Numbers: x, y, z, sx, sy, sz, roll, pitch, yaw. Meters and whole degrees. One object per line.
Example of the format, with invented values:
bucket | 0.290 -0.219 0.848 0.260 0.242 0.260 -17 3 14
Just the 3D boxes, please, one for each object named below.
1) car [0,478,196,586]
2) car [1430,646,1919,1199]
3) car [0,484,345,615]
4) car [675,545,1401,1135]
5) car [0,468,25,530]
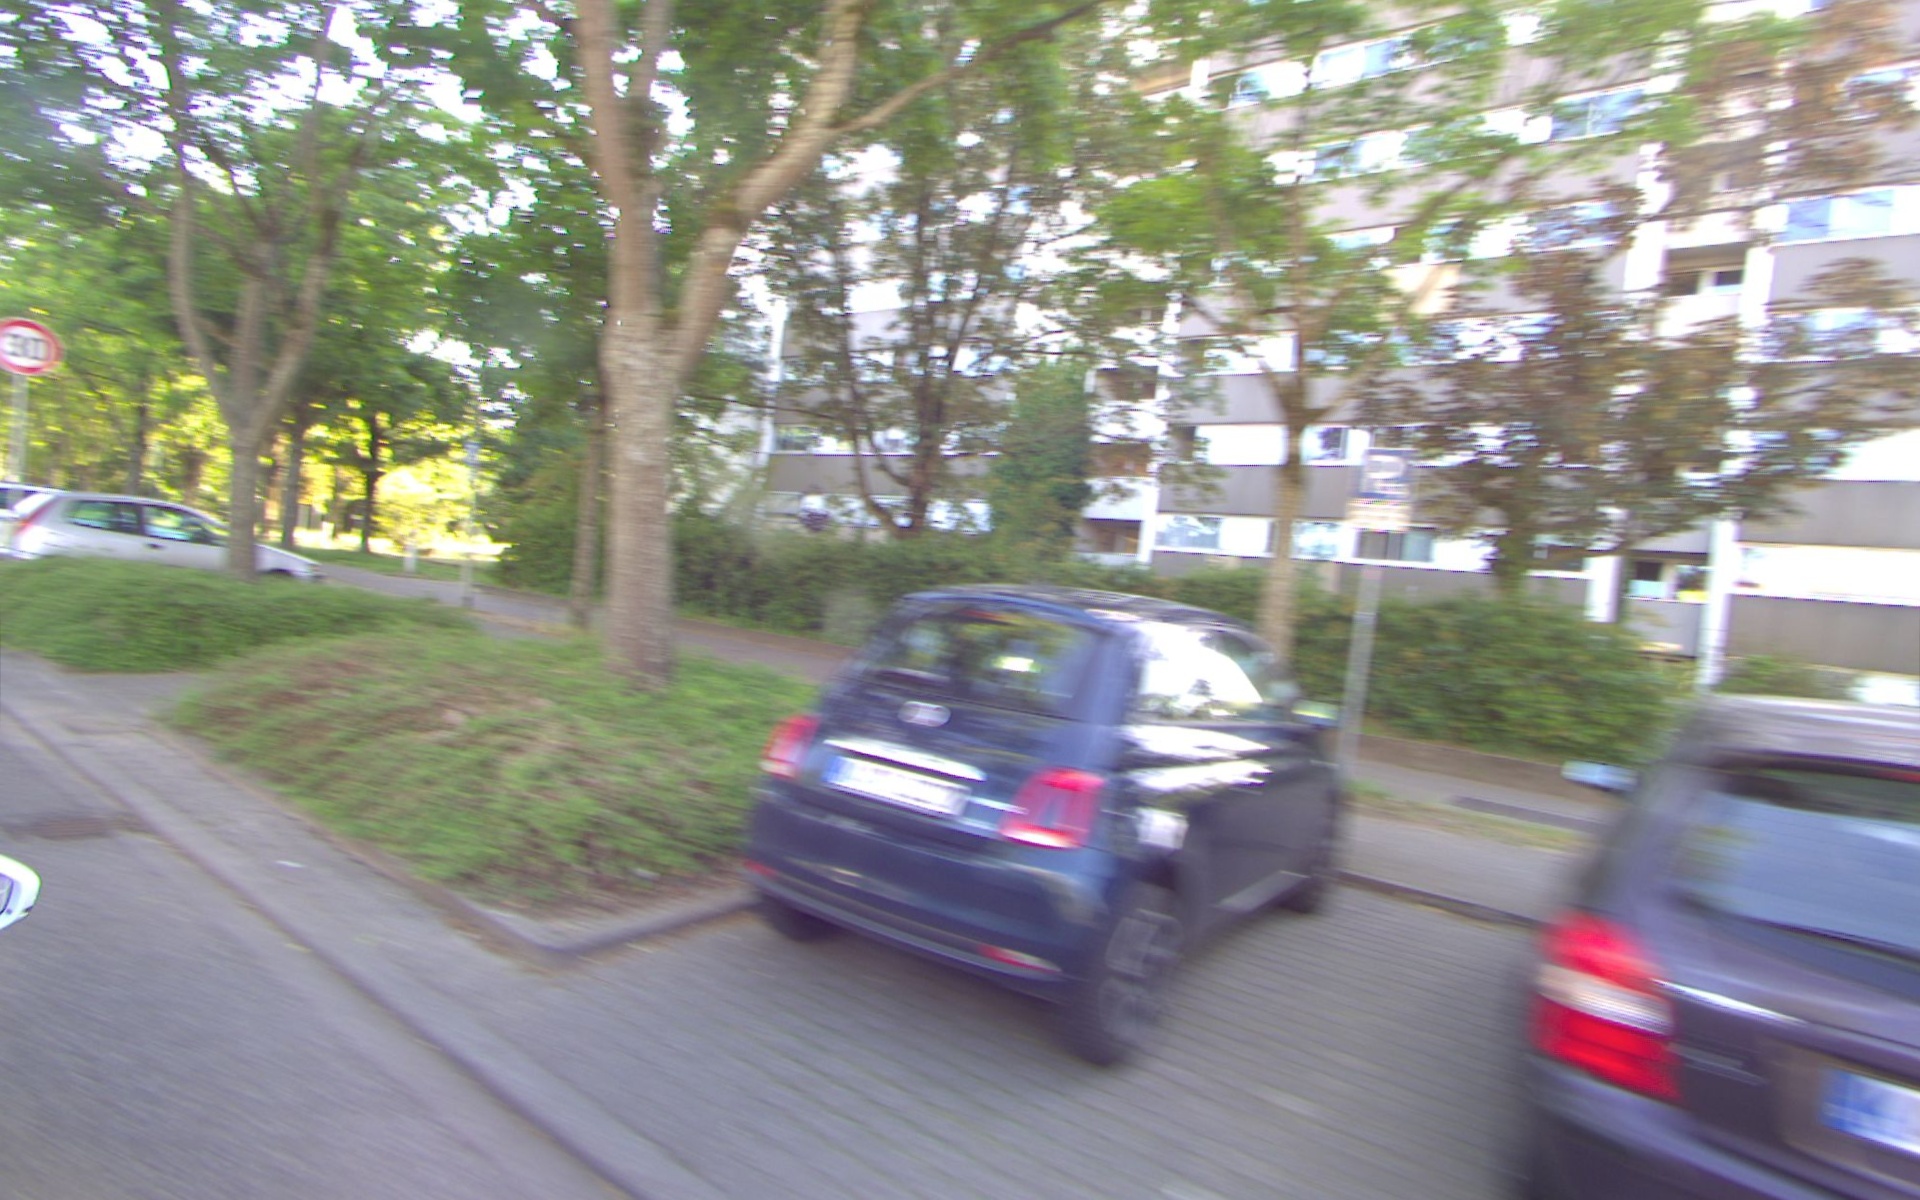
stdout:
car | -15.466 -1.220 16.559 1.802 1.445 4.268 7 0 42
car | 2.919 0.974 3.126 1.794 1.406 3.981 7 3 37
car | -11.298 -0.671 14.294 1.691 1.470 3.982 7 2 37
car | 0.755 0.691 4.782 1.674 1.519 3.807 7 2 34
car | -28.128 -2.921 26.792 1.787 1.670 4.430 7 3 35
